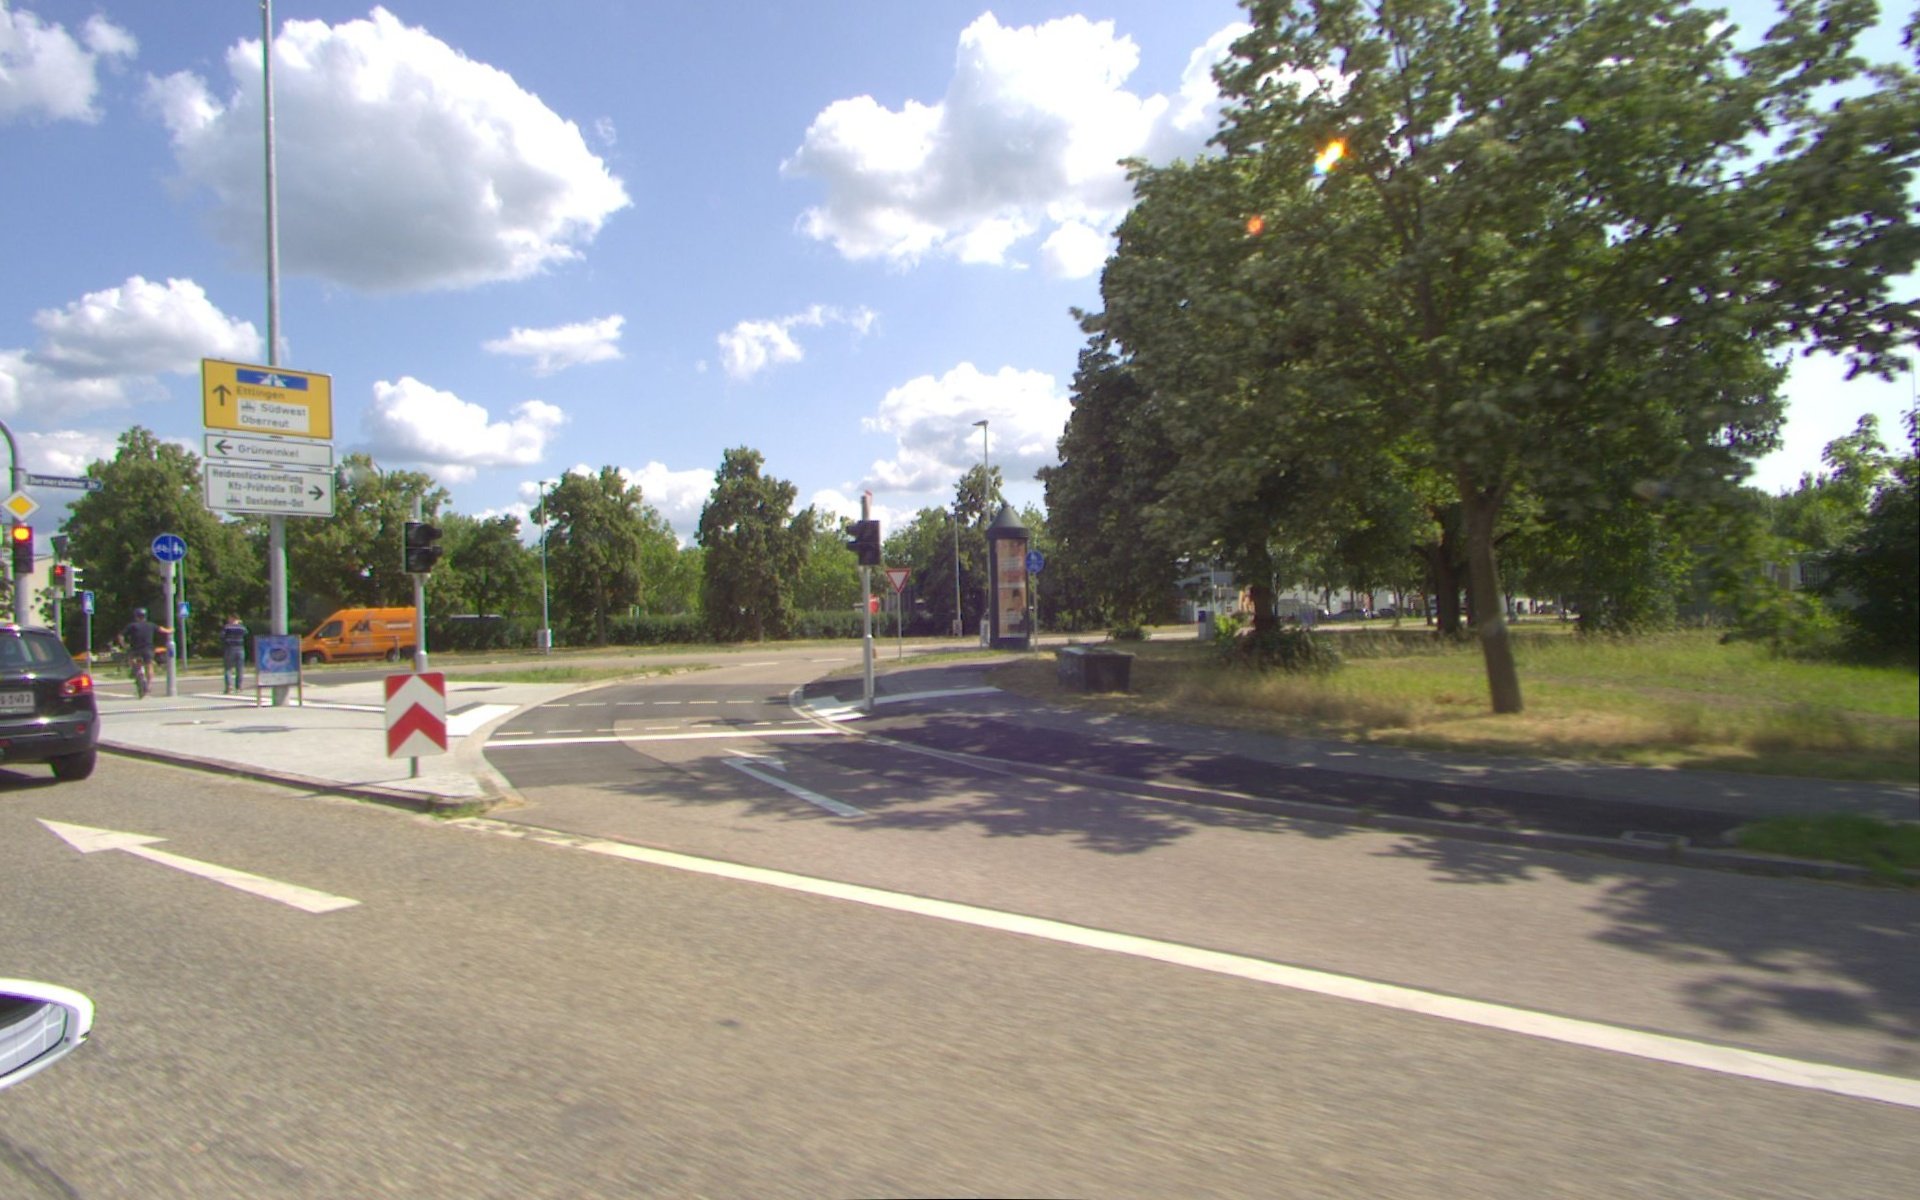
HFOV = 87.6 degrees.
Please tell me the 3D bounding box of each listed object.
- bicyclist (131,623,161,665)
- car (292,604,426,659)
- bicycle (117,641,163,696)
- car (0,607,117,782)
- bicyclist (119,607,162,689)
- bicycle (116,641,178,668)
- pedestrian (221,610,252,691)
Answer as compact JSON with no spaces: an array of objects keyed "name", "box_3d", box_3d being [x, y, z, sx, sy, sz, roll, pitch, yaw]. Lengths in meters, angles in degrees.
[{"name":"bicyclist","box_3d":[-35.380,1.910,43.506,0.674,1.827,0.787,-1,-1,23]},{"name":"car","box_3d":[-25.843,1.395,43.288,4.788,2.253,2.203,1,-3,-28]},{"name":"bicycle","box_3d":[-17.383,1.441,21.216,0.643,1.121,1.911,2,-4,-42]},{"name":"car","box_3d":[-10.320,0.913,9.985,3.944,1.571,1.797,-2,-4,32]},{"name":"bicyclist","box_3d":[-17.255,1.015,21.088,0.643,1.682,0.644,2,-3,-42]},{"name":"bicycle","box_3d":[-35.346,2.367,43.567,0.674,1.107,1.999,-1,-2,22]},{"name":"pedestrian","box_3d":[-16.385,1.146,22.679,0.477,1.800,0.462,-3,-3,43]}]
